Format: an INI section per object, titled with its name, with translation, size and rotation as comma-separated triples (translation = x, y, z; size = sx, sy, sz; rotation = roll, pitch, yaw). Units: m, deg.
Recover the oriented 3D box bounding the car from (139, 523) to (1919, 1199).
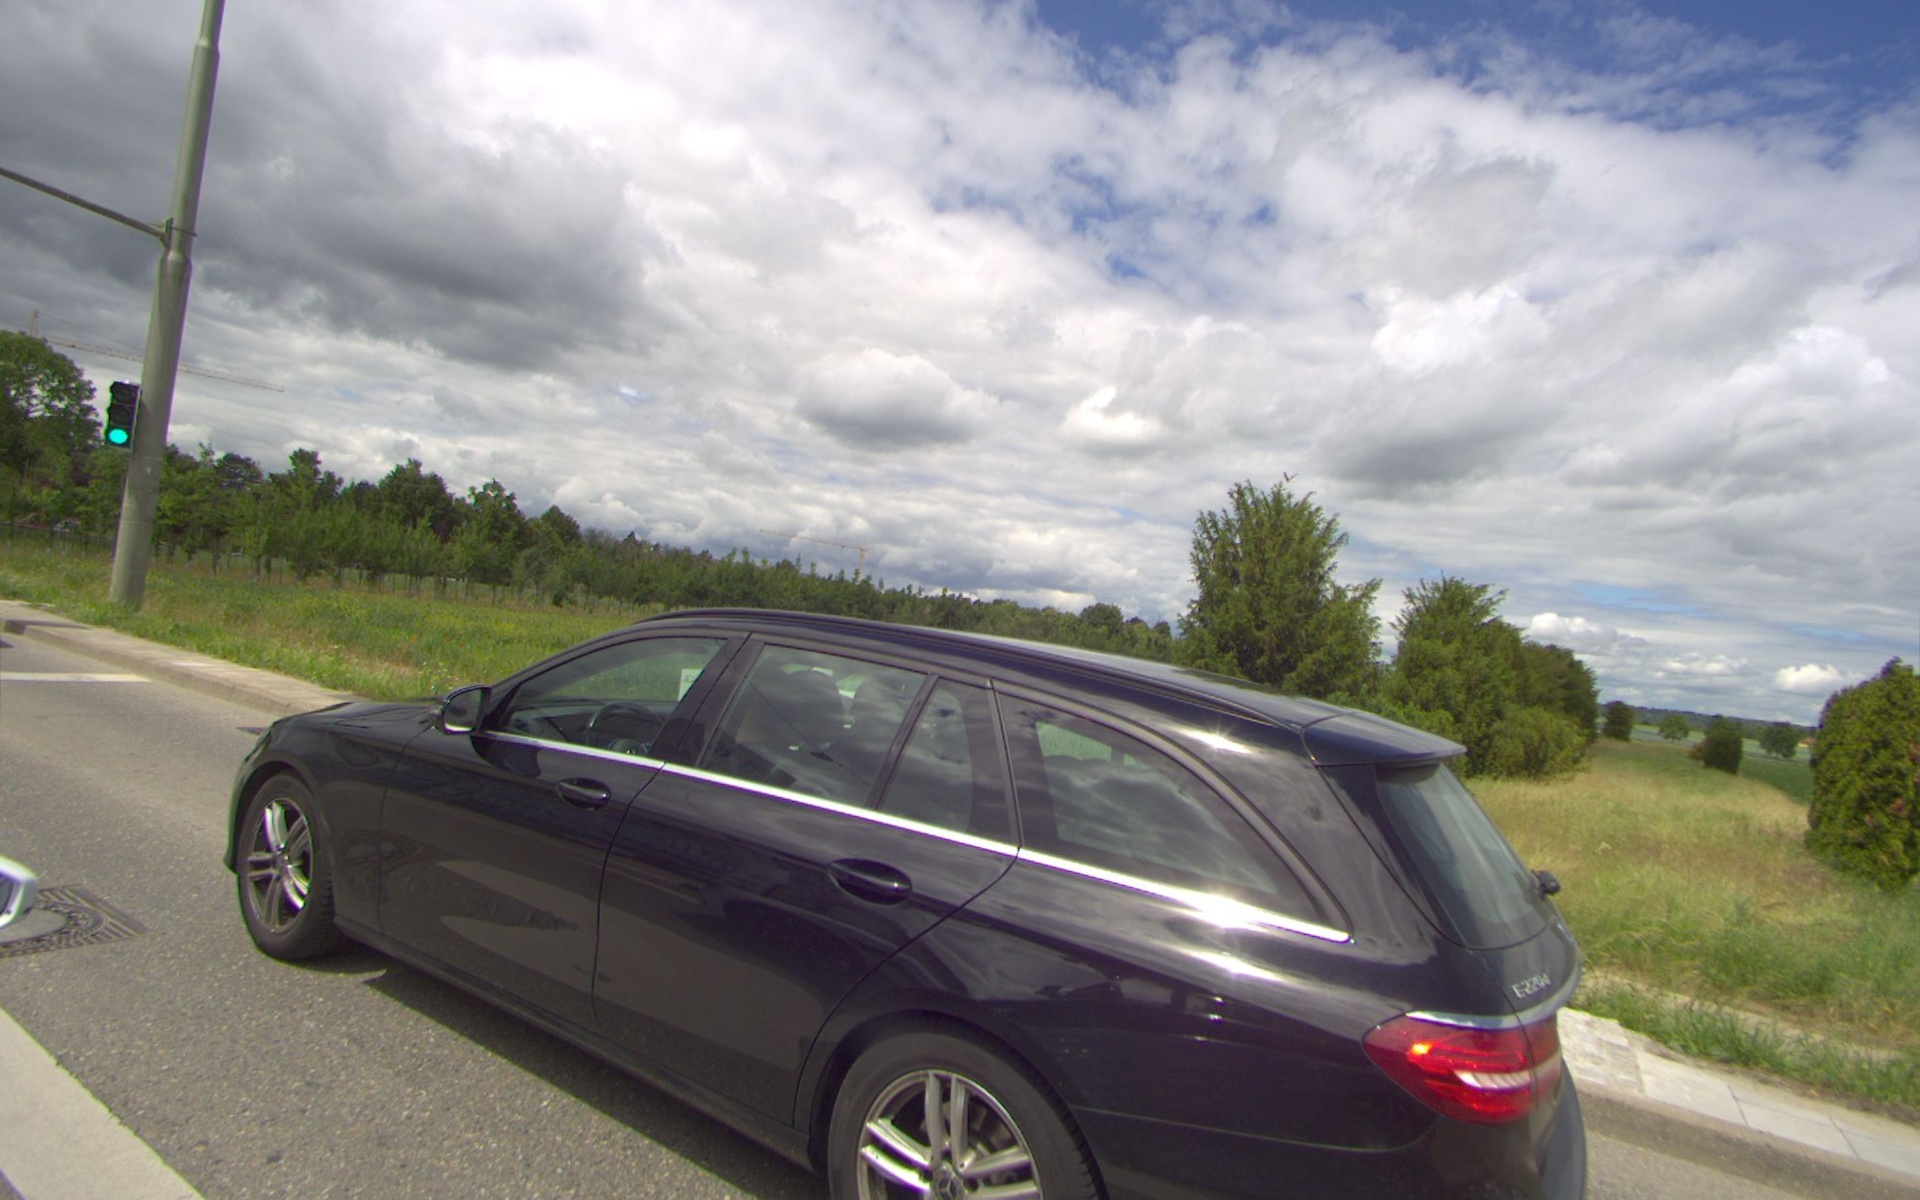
[car]
translation = -0.487, 0.755, 3.390
size = 5.114, 1.458, 1.876
rotation = 7, -1, 32
